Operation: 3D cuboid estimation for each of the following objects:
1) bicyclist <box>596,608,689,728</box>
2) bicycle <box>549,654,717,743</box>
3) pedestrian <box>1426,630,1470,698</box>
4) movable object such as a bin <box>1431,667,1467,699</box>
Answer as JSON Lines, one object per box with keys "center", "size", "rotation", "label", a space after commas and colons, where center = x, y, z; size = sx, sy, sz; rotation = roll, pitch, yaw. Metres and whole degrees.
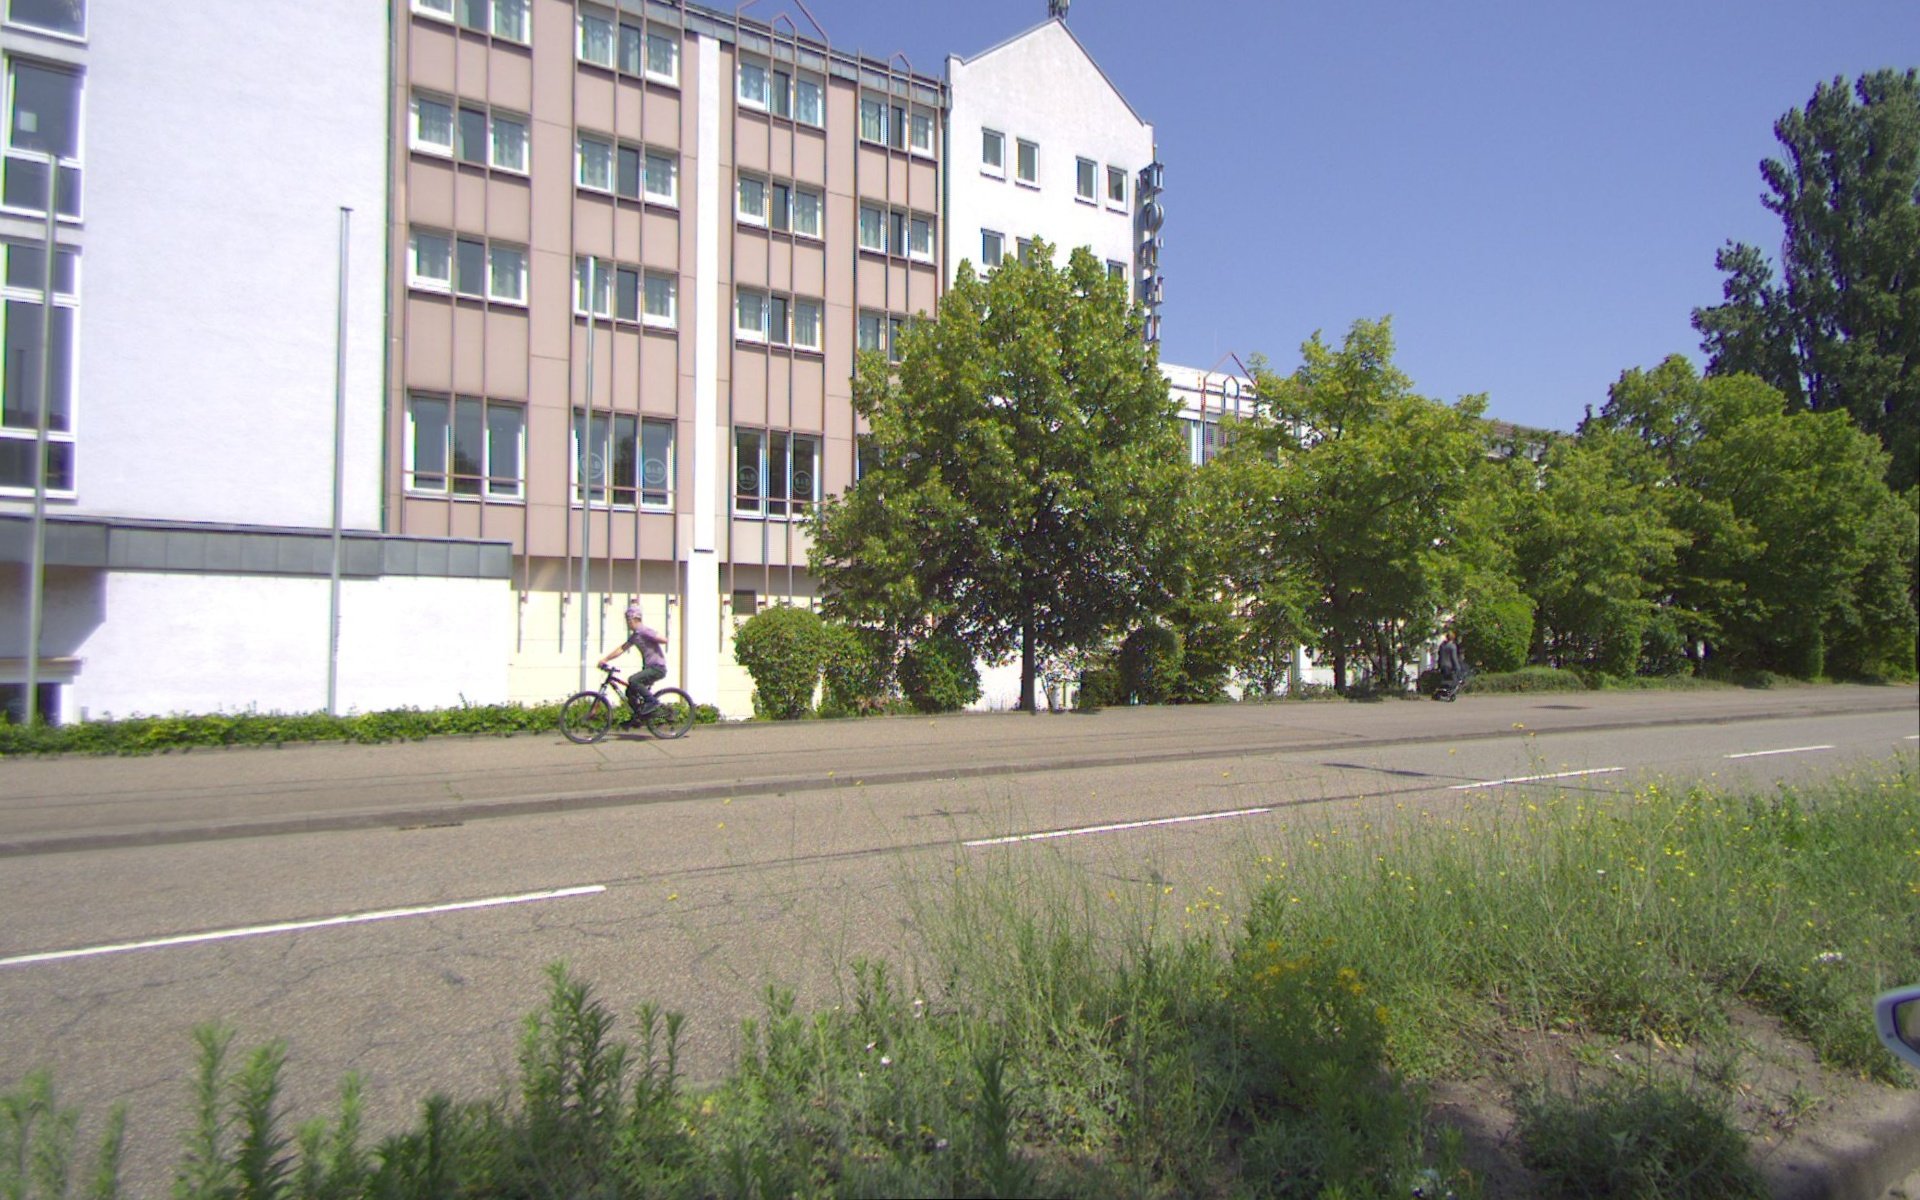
{"center": [-4.242, 0.897, 13.426], "size": [1.016, 1.536, 0.713], "rotation": [2, -3, -34], "label": "bicyclist"}
{"center": [-4.302, 1.270, 13.313], "size": [2.041, 1.087, 0.547], "rotation": [2, -2, -33], "label": "bicycle"}
{"center": [11.589, 1.511, 23.851], "size": [0.719, 1.565, 0.630], "rotation": [2, -3, -30], "label": "pedestrian"}
{"center": [11.317, 1.914, 23.264], "size": [0.642, 0.714, 0.427], "rotation": [1, -3, -22], "label": "movable object such as a bin"}
